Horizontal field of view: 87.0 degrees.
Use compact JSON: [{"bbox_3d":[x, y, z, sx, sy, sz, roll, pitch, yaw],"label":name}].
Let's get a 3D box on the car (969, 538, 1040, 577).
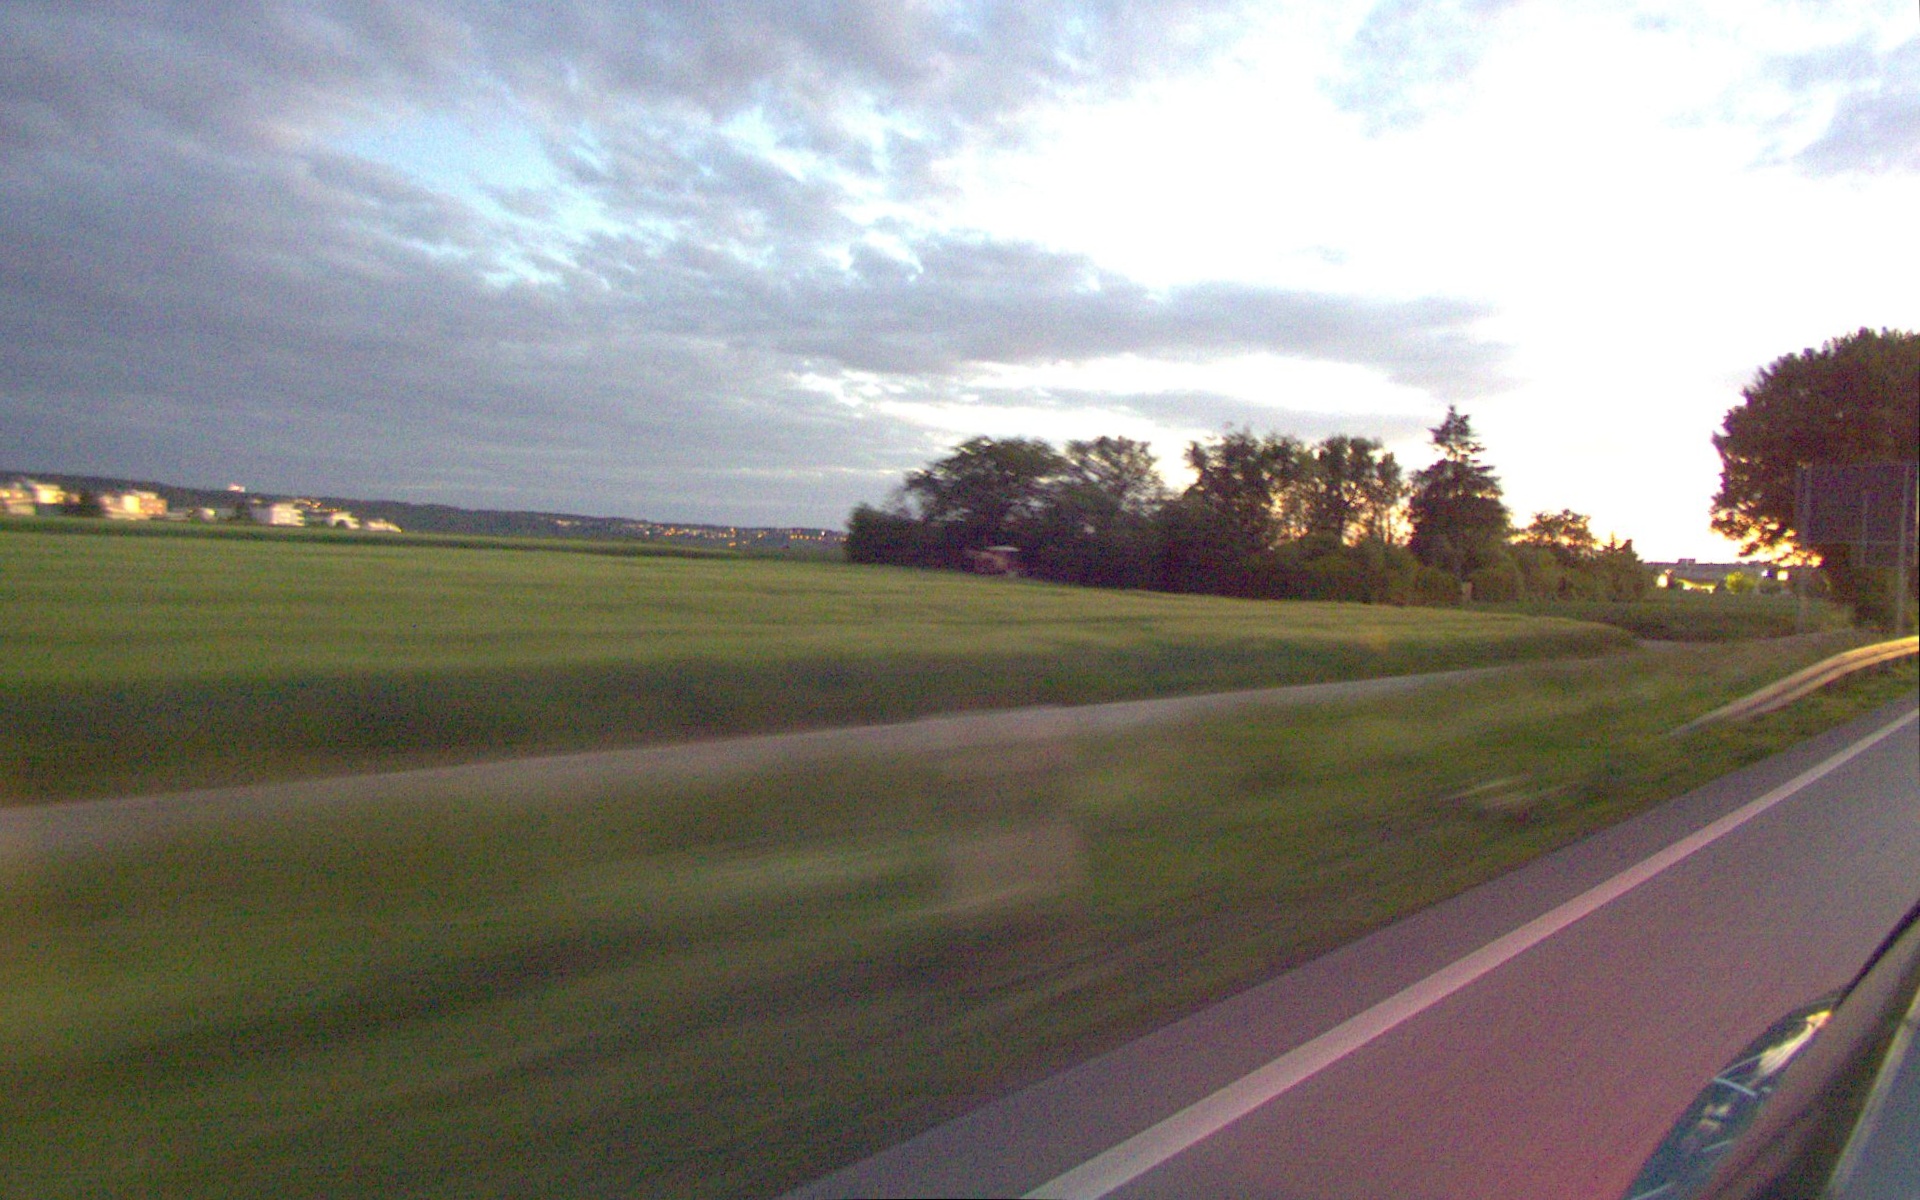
[{"bbox_3d":[2.705,-2.514,60.711,1.989,2.178,4.520,4,3,36],"label":"car"}]
